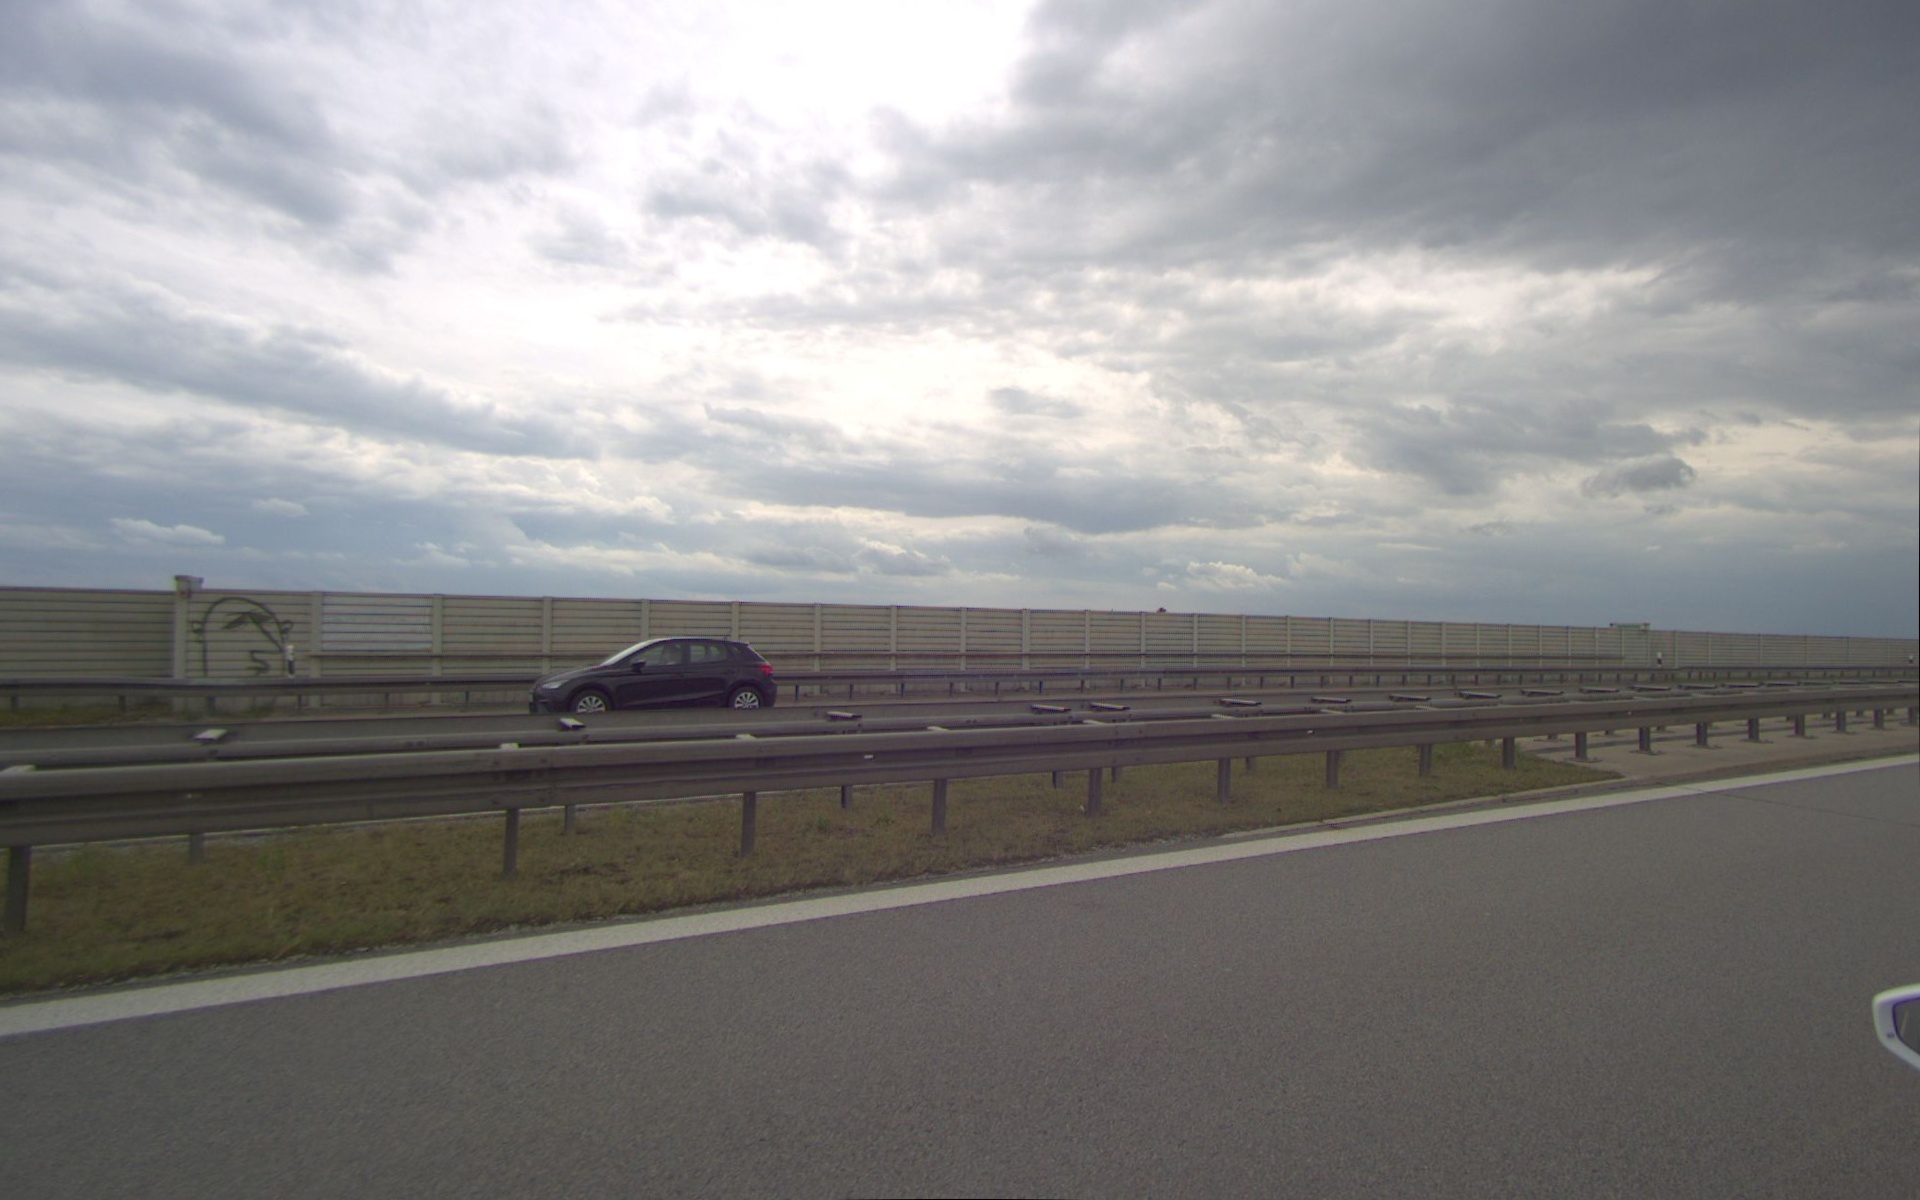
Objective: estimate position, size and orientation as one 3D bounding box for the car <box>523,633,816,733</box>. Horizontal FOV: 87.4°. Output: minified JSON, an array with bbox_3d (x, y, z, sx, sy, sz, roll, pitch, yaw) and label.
[{"bbox_3d":[-4.873,1.357,17.079,4.513,1.514,1.696,2,-3,-30],"label":"car"}]
